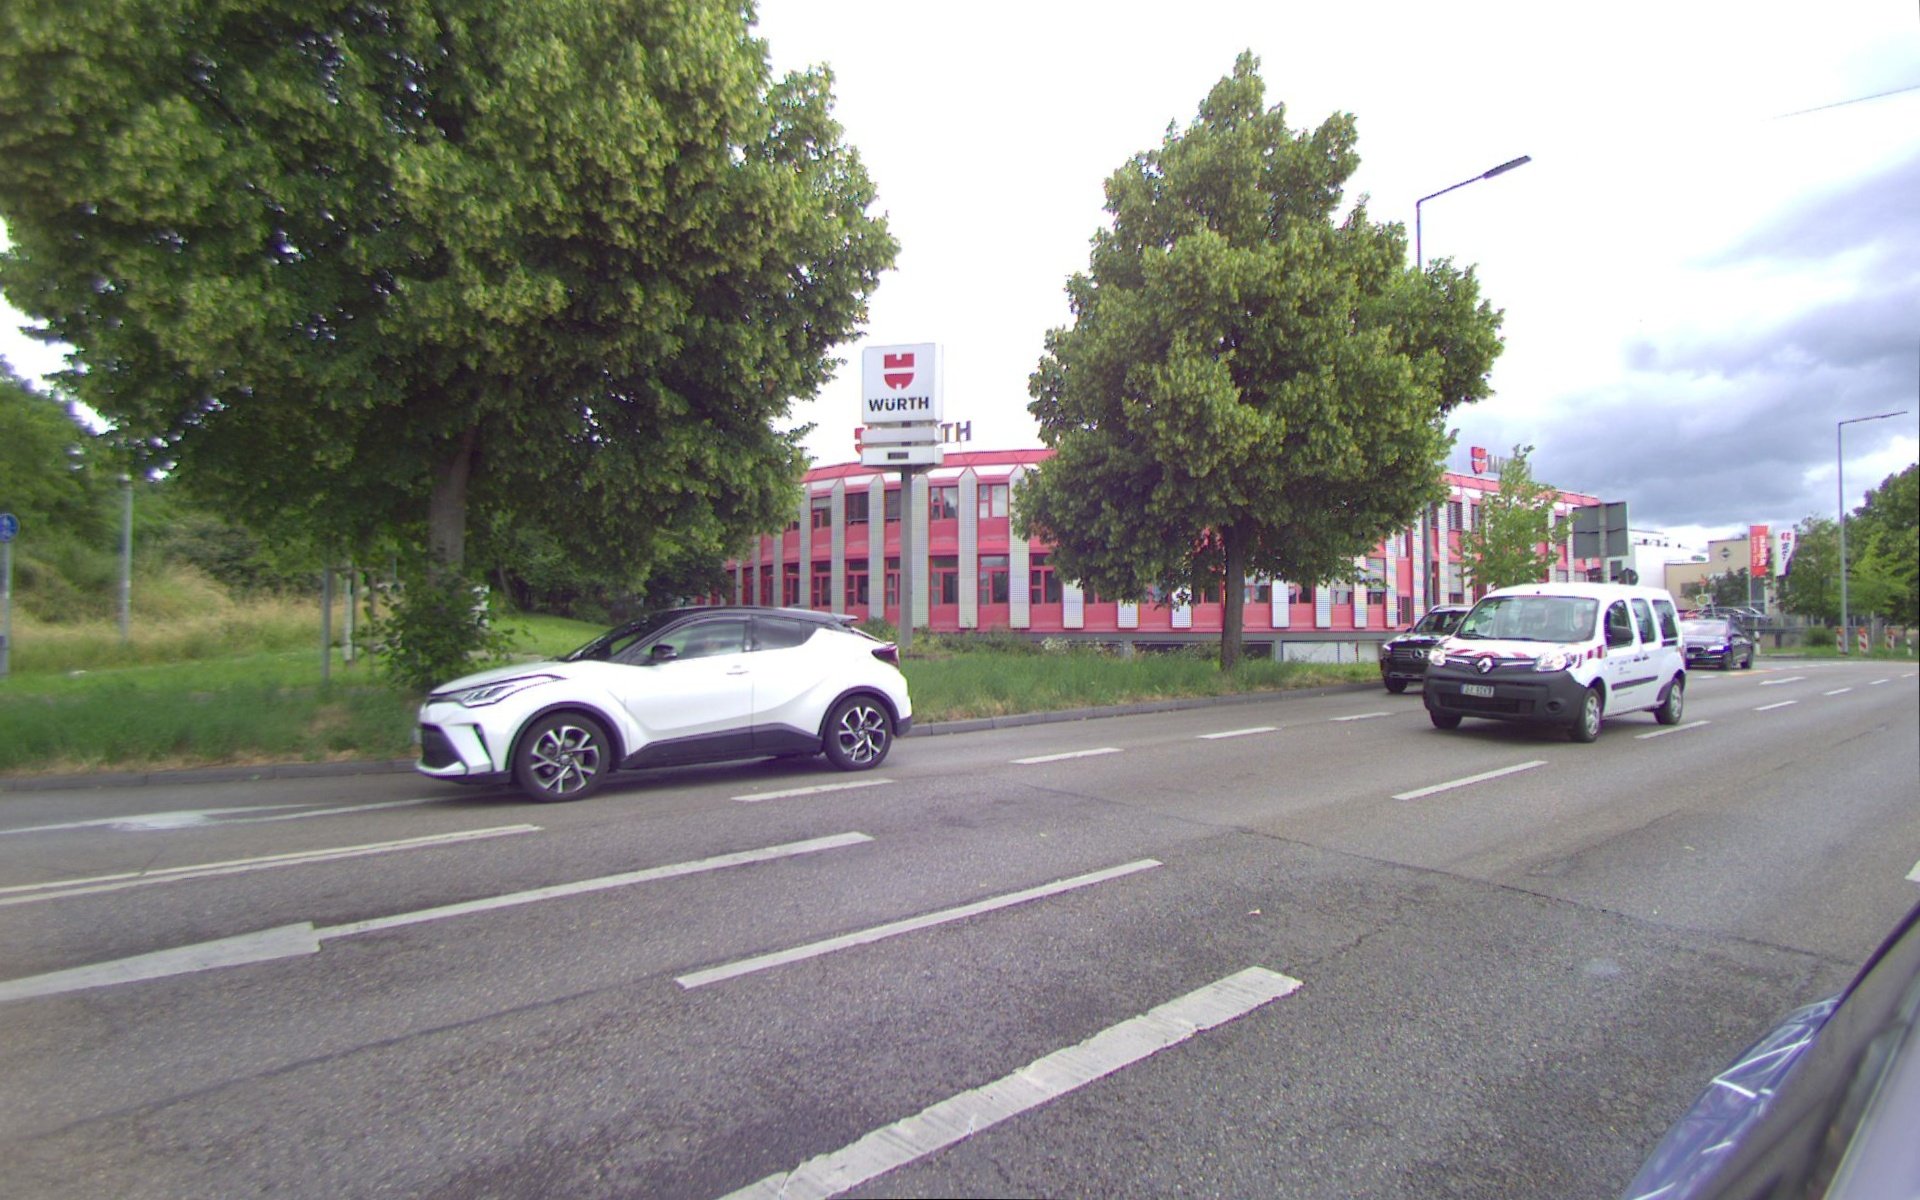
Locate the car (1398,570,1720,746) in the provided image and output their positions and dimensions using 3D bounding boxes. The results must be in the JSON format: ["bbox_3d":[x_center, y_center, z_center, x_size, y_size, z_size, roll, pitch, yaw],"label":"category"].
[{"bbox_3d":[7.687,0.558,12.797,4.752,1.824,1.999,-1,1,-39],"label":"car"}]

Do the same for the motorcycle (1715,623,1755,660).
[{"bbox_3d":[25.162,1.327,32.861,1.911,1.162,0.748,2,-3,-45],"label":"motorcycle"}]

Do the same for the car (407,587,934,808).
[{"bbox_3d":[-2.492,0.728,9.130,4.224,1.555,1.785,0,-3,-36],"label":"car"}]

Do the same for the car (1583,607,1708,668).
[{"bbox_3d":[18.187,0.996,26.810,3.766,1.461,1.784,3,-1,-40],"label":"car"}]

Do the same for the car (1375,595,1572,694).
[{"bbox_3d":[9.906,0.836,19.381,4.346,1.671,1.784,3,-1,-40],"label":"car"}]

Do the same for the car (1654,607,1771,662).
[{"bbox_3d":[22.214,1.031,29.808,4.446,1.464,1.784,3,-1,-40],"label":"car"}]

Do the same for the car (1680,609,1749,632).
[{"bbox_3d":[61.809,1.692,82.950,1.752,1.776,4.247,0,0,-39],"label":"car"}]
